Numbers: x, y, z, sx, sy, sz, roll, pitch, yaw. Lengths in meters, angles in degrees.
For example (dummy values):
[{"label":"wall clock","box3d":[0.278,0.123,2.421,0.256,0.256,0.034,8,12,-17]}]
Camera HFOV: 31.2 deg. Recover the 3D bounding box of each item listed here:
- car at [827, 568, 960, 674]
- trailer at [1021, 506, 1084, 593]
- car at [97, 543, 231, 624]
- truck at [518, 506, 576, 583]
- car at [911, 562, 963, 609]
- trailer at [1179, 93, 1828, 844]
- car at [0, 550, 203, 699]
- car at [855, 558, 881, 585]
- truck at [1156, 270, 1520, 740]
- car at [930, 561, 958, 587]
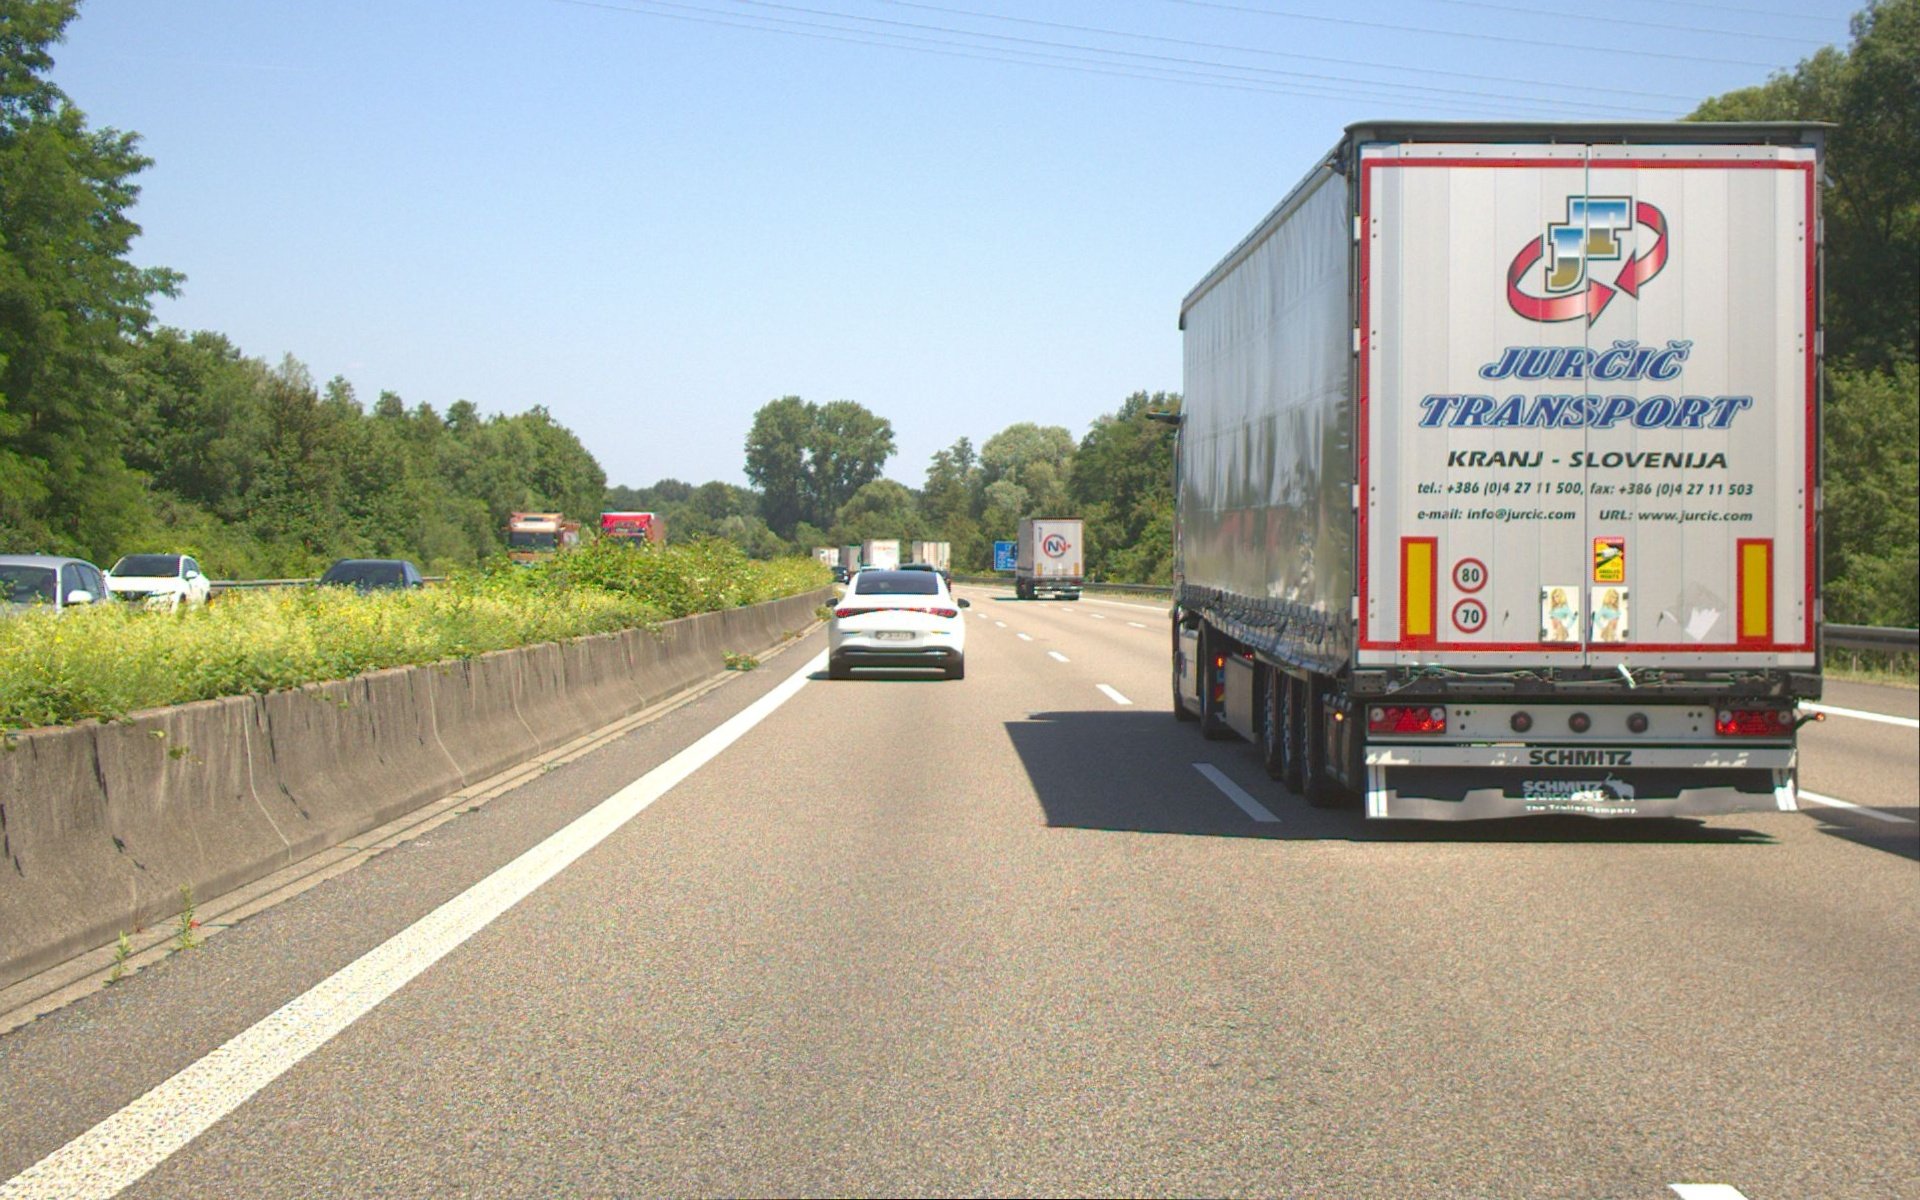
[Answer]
[{"label":"car","box3d":[-0.866,0.253,46.625,1.715,1.365,3.375,1,1,0]},{"label":"trailer","box3d":[4.666,-2.554,175.576,2.624,4.246,14.061,1,1,-1]},{"label":"car","box3d":[-17.190,-0.377,74.412,1.814,1.680,4.762,1,1,0]},{"label":"truck","box3d":[-19.528,-2.605,162.685,2.356,3.589,4.164,1,0,-2]},{"label":"car","box3d":[-0.876,-0.574,134.786,1.993,1.766,4.000,1,1,0]},{"label":"trailer","box3d":[3.321,-0.767,25.104,2.740,3.961,13.654,1,1,1]},{"label":"car","box3d":[-9.318,0.222,36.739,1.648,1.504,3.465,1,1,1]},{"label":"car","box3d":[-6.291,-1.949,234.351,1.723,1.777,4.000,1,1,-2]},{"label":"truck","box3d":[3.400,-0.840,32.475,2.723,3.961,6.501,1,1,0]},{"label":"car","box3d":[-1.018,-1.694,223.102,1.723,1.580,4.000,1,1,-1]}]
